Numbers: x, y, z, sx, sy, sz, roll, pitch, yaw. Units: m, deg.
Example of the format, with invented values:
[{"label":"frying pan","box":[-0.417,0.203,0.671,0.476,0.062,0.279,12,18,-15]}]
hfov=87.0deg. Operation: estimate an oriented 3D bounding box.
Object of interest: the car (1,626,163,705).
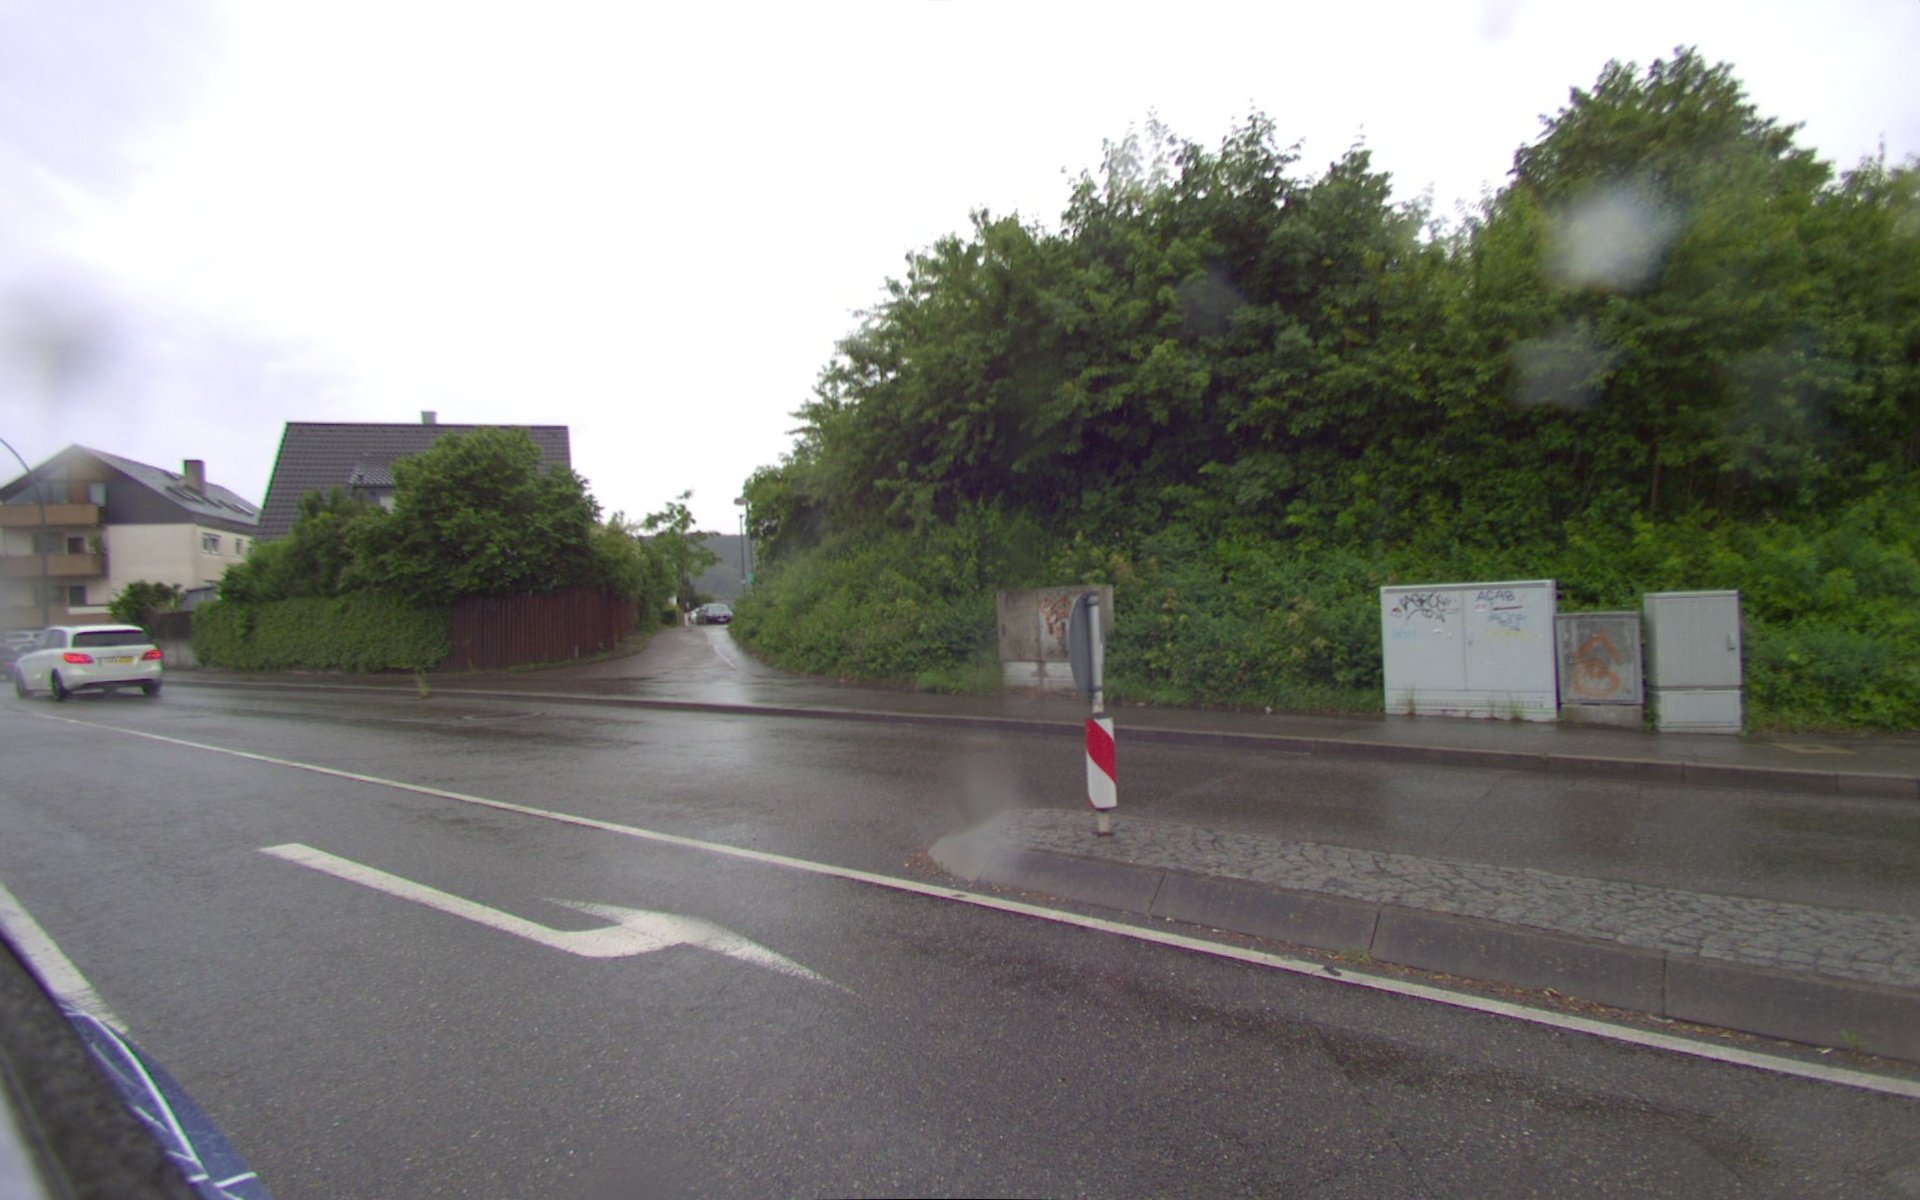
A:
[{"label":"car","box":[-19.285,1.376,22.171,4.311,1.516,1.650,-2,0,35]}]

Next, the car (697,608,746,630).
[{"label":"car","box":[-17.288,1.344,73.339,1.967,1.497,4.009,-1,0,-37]}]

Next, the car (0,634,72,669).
[{"label":"car","box":[-46.700,2.544,50.760,1.638,1.558,4.011,-1,0,-15]}]

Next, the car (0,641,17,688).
[{"label":"car","box":[-31.943,2.042,32.369,4.095,1.449,1.651,-1,-2,33]}]

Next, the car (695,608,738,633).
[{"label":"car","box":[-15.883,1.337,65.903,1.867,1.494,4.013,-1,-1,-26]}]
